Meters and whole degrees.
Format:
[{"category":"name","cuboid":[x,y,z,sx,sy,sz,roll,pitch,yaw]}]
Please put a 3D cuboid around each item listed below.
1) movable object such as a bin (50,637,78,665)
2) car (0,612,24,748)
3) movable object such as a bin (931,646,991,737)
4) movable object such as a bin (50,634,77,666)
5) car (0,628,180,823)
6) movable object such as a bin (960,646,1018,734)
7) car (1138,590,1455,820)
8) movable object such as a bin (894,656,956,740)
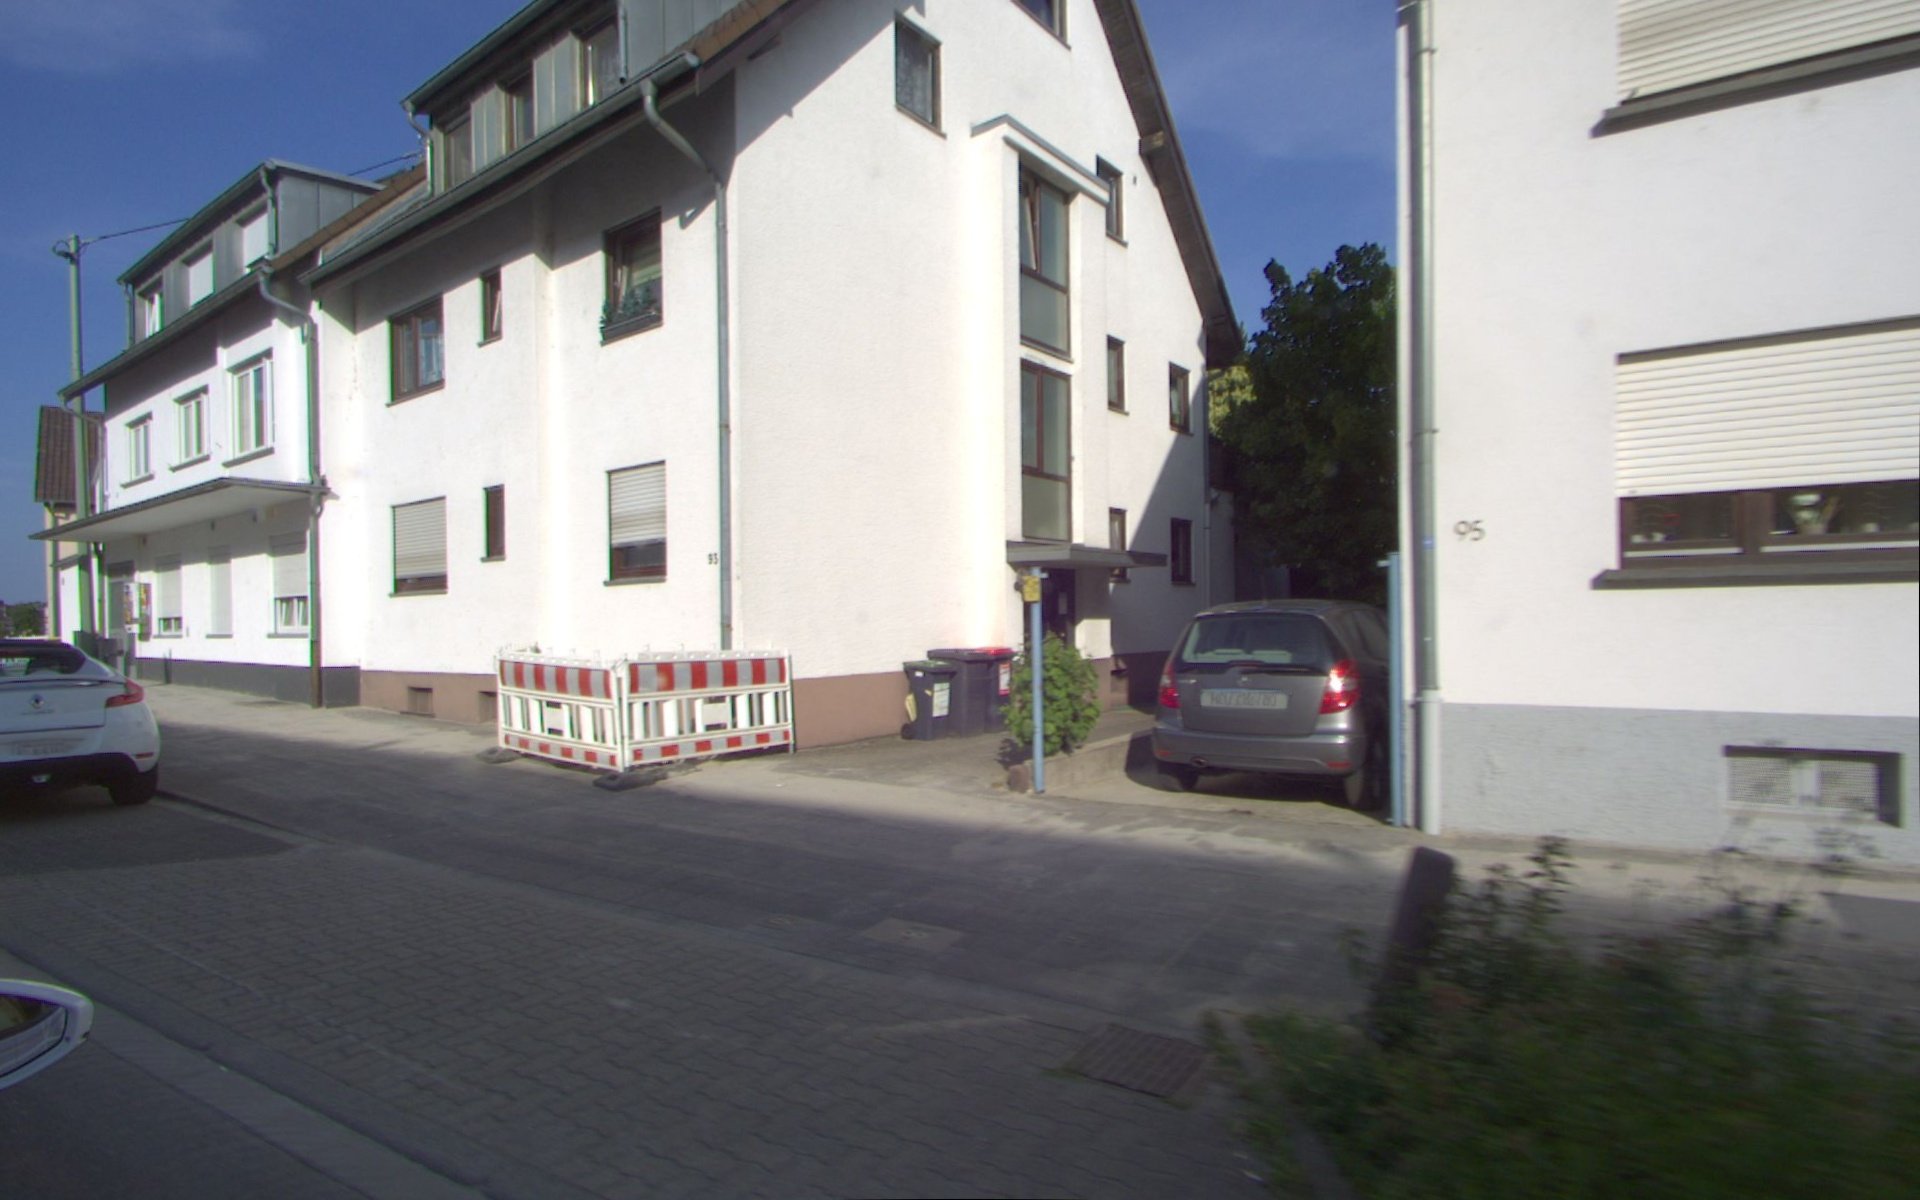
[{"category":"movable object such as a bin","cuboid":[-31.583,1.794,35.298,0.723,0.971,0.548,1,-2,-43]},{"category":"car","cuboid":[-12.182,0.913,11.371,3.870,1.440,1.601,-1,1,37]},{"category":"movable object such as a bin","cuboid":[0.014,1.106,12.299,0.533,1.063,0.514,-1,-2,44]},{"category":"movable object such as a bin","cuboid":[-32.145,1.780,35.900,0.723,1.107,0.548,0,-1,-43]},{"category":"car","cuboid":[-8.632,0.949,8.706,4.275,1.416,1.711,-1,-2,35]},{"category":"movable object such as a bin","cuboid":[0.367,1.123,12.689,0.533,1.063,0.514,-1,-2,44]},{"category":"car","cuboid":[3.174,0.797,8.967,1.770,1.586,3.732,-1,-2,34]},{"category":"movable object such as a bin","cuboid":[-0.424,1.154,11.987,0.533,0.957,0.514,-1,-2,44]}]
